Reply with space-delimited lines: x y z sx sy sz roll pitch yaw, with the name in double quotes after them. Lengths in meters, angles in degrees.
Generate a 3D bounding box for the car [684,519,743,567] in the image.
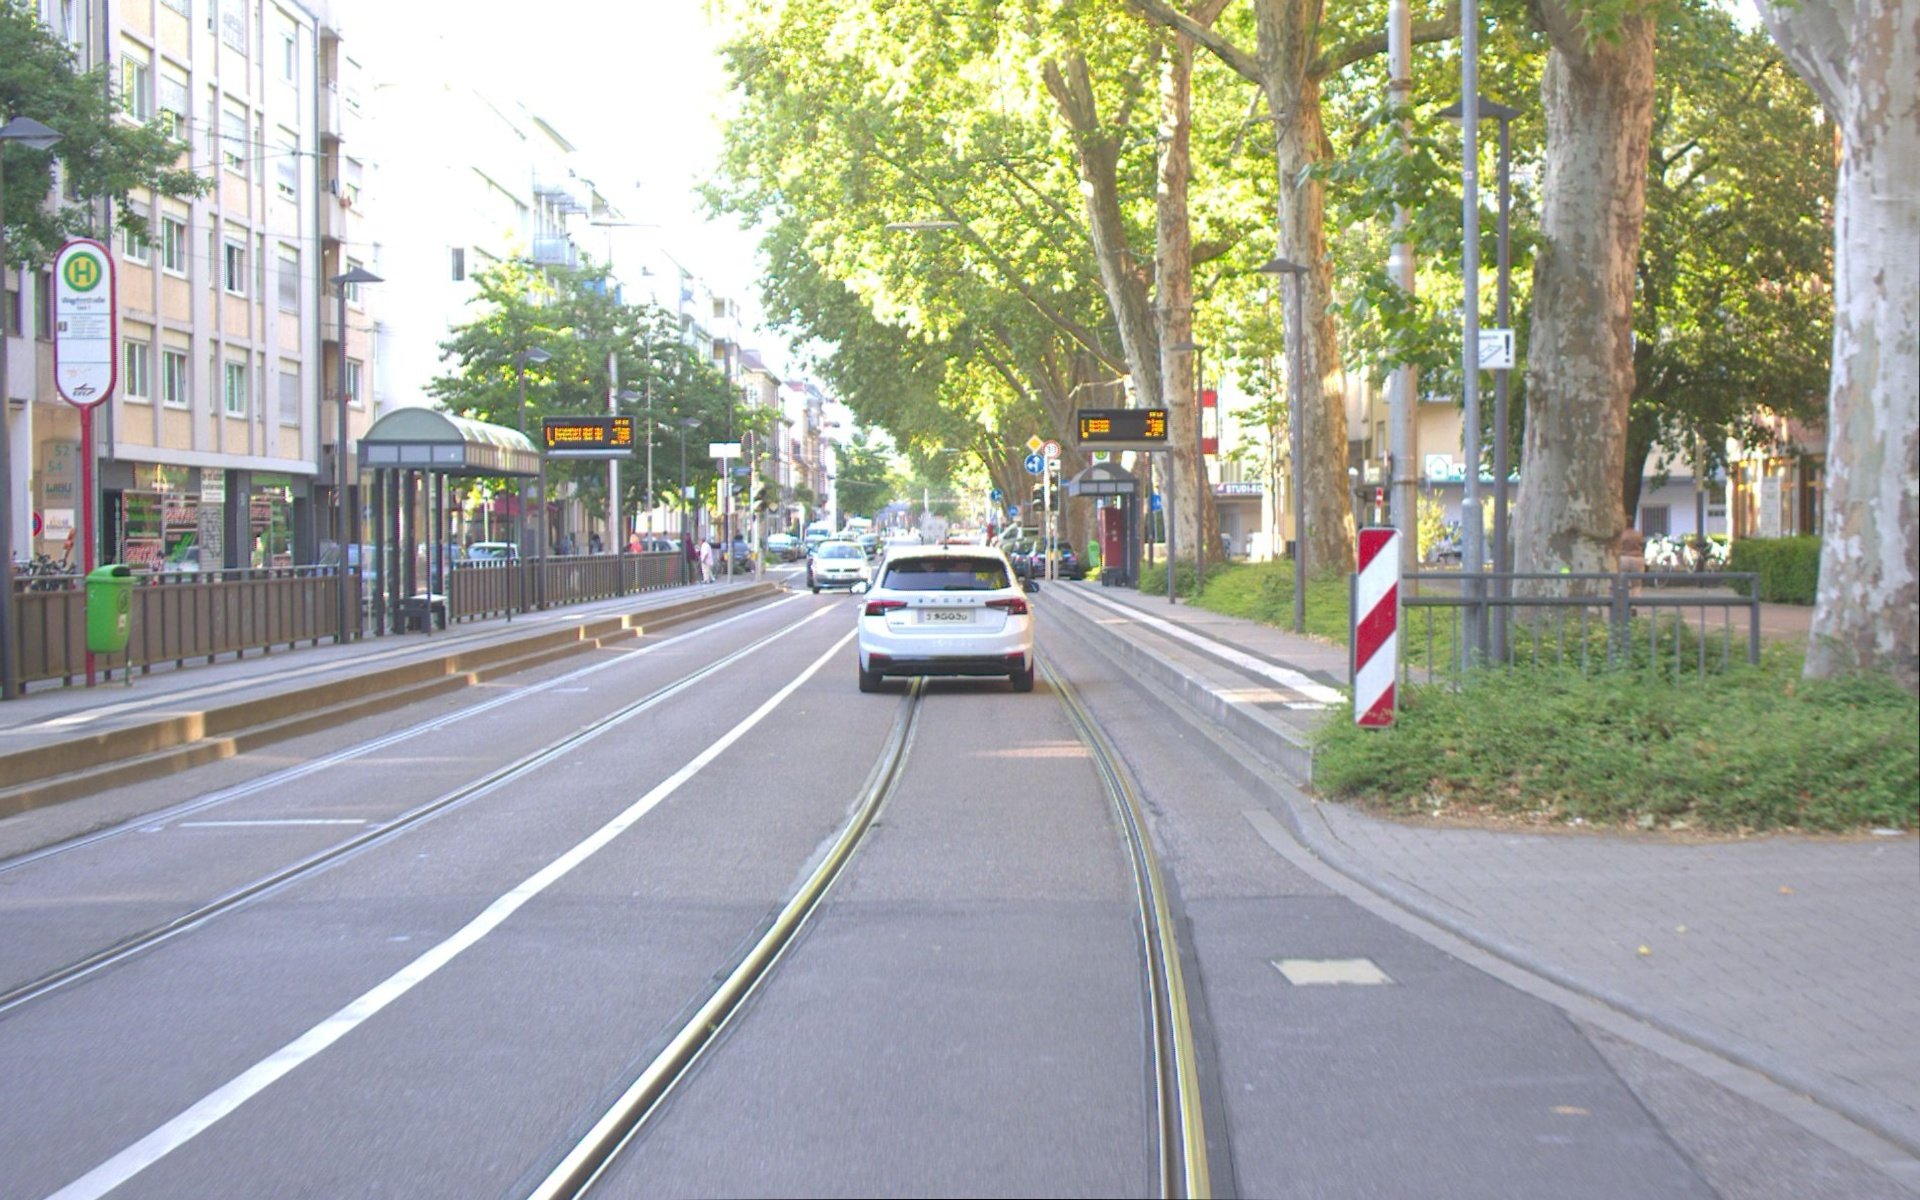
-8.334 -1.960 116.649 1.678 1.543 4.000 2 2 0 "car"

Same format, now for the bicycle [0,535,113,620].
-12.762 -0.326 46.835 2.253 1.070 0.636 3 1 1 "bicycle"

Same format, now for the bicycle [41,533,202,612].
-12.747 -0.420 52.298 2.253 1.070 0.636 3 1 1 "bicycle"

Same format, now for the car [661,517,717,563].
-9.764 -2.180 124.208 1.678 1.543 4.000 2 2 0 "car"

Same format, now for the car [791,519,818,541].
-11.199 -5.046 247.534 1.788 1.508 4.000 -1 2 0 "car"

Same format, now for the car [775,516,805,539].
-11.262 -4.812 228.464 1.788 1.508 4.000 -1 2 0 "car"

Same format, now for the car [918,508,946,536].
-1.899 -5.349 234.507 1.866 1.886 4.000 -1 2 0 "car"

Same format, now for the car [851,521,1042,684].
-0.127 -0.022 34.434 1.788 1.508 4.000 -1 2 0 "car"

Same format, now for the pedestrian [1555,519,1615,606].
11.798 -0.707 64.924 0.972 1.618 0.887 -1 1 0 "pedestrian"

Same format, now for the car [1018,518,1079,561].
3.021 -2.091 118.429 1.993 1.448 4.000 -1 2 0 "car"

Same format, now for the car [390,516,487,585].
-12.438 -1.206 82.227 1.678 1.543 4.000 2 2 0 "car"

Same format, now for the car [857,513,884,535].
-6.365 -5.428 245.377 1.788 1.508 4.000 -1 2 0 "car"

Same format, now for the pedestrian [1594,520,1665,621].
10.899 -0.486 55.980 0.972 1.618 0.887 -1 1 0 "pedestrian"

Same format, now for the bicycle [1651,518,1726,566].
15.982 -1.278 75.424 1.568 1.034 0.479 0 1 22 "bicycle"

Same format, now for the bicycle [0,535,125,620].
-12.749 -0.323 47.457 2.253 1.070 0.636 3 1 1 "bicycle"

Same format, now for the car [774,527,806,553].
-10.476 -3.710 212.436 1.788 1.508 4.000 -1 2 0 "car"

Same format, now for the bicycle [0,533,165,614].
-12.893 -0.391 50.468 2.253 1.070 0.636 3 1 1 "bicycle"

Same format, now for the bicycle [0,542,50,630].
-12.718 -0.221 43.376 2.253 1.070 0.636 3 1 1 "bicycle"

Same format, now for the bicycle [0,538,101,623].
-12.771 -0.286 46.228 2.253 1.070 0.636 3 1 1 "bicycle"

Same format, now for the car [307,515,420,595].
-12.294 -0.951 71.009 1.593 1.543 4.000 2 2 0 "car"

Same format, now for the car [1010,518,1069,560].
2.834 -2.207 123.516 1.993 1.448 4.000 -1 2 0 "car"

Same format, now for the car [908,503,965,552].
-0.742 -2.352 111.032 1.788 1.508 4.000 -1 2 0 "car"

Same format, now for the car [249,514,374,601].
-12.382 -0.837 65.818 1.593 1.543 4.000 2 2 0 "car"

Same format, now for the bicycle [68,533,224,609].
-12.770 -0.459 53.970 2.253 1.070 0.636 3 1 1 "bicycle"

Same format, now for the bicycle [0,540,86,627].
-12.673 -0.247 45.024 2.253 1.070 0.636 3 1 1 "bicycle"

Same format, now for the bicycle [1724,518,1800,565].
17.589 -1.285 75.430 1.568 1.034 0.479 0 1 23 "bicycle"

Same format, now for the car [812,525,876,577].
-3.281 -1.402 97.855 1.694 1.414 4.000 -1 2 0 "car"

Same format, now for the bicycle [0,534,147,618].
-12.740 -0.352 48.720 2.253 1.070 0.636 3 1 1 "bicycle"
